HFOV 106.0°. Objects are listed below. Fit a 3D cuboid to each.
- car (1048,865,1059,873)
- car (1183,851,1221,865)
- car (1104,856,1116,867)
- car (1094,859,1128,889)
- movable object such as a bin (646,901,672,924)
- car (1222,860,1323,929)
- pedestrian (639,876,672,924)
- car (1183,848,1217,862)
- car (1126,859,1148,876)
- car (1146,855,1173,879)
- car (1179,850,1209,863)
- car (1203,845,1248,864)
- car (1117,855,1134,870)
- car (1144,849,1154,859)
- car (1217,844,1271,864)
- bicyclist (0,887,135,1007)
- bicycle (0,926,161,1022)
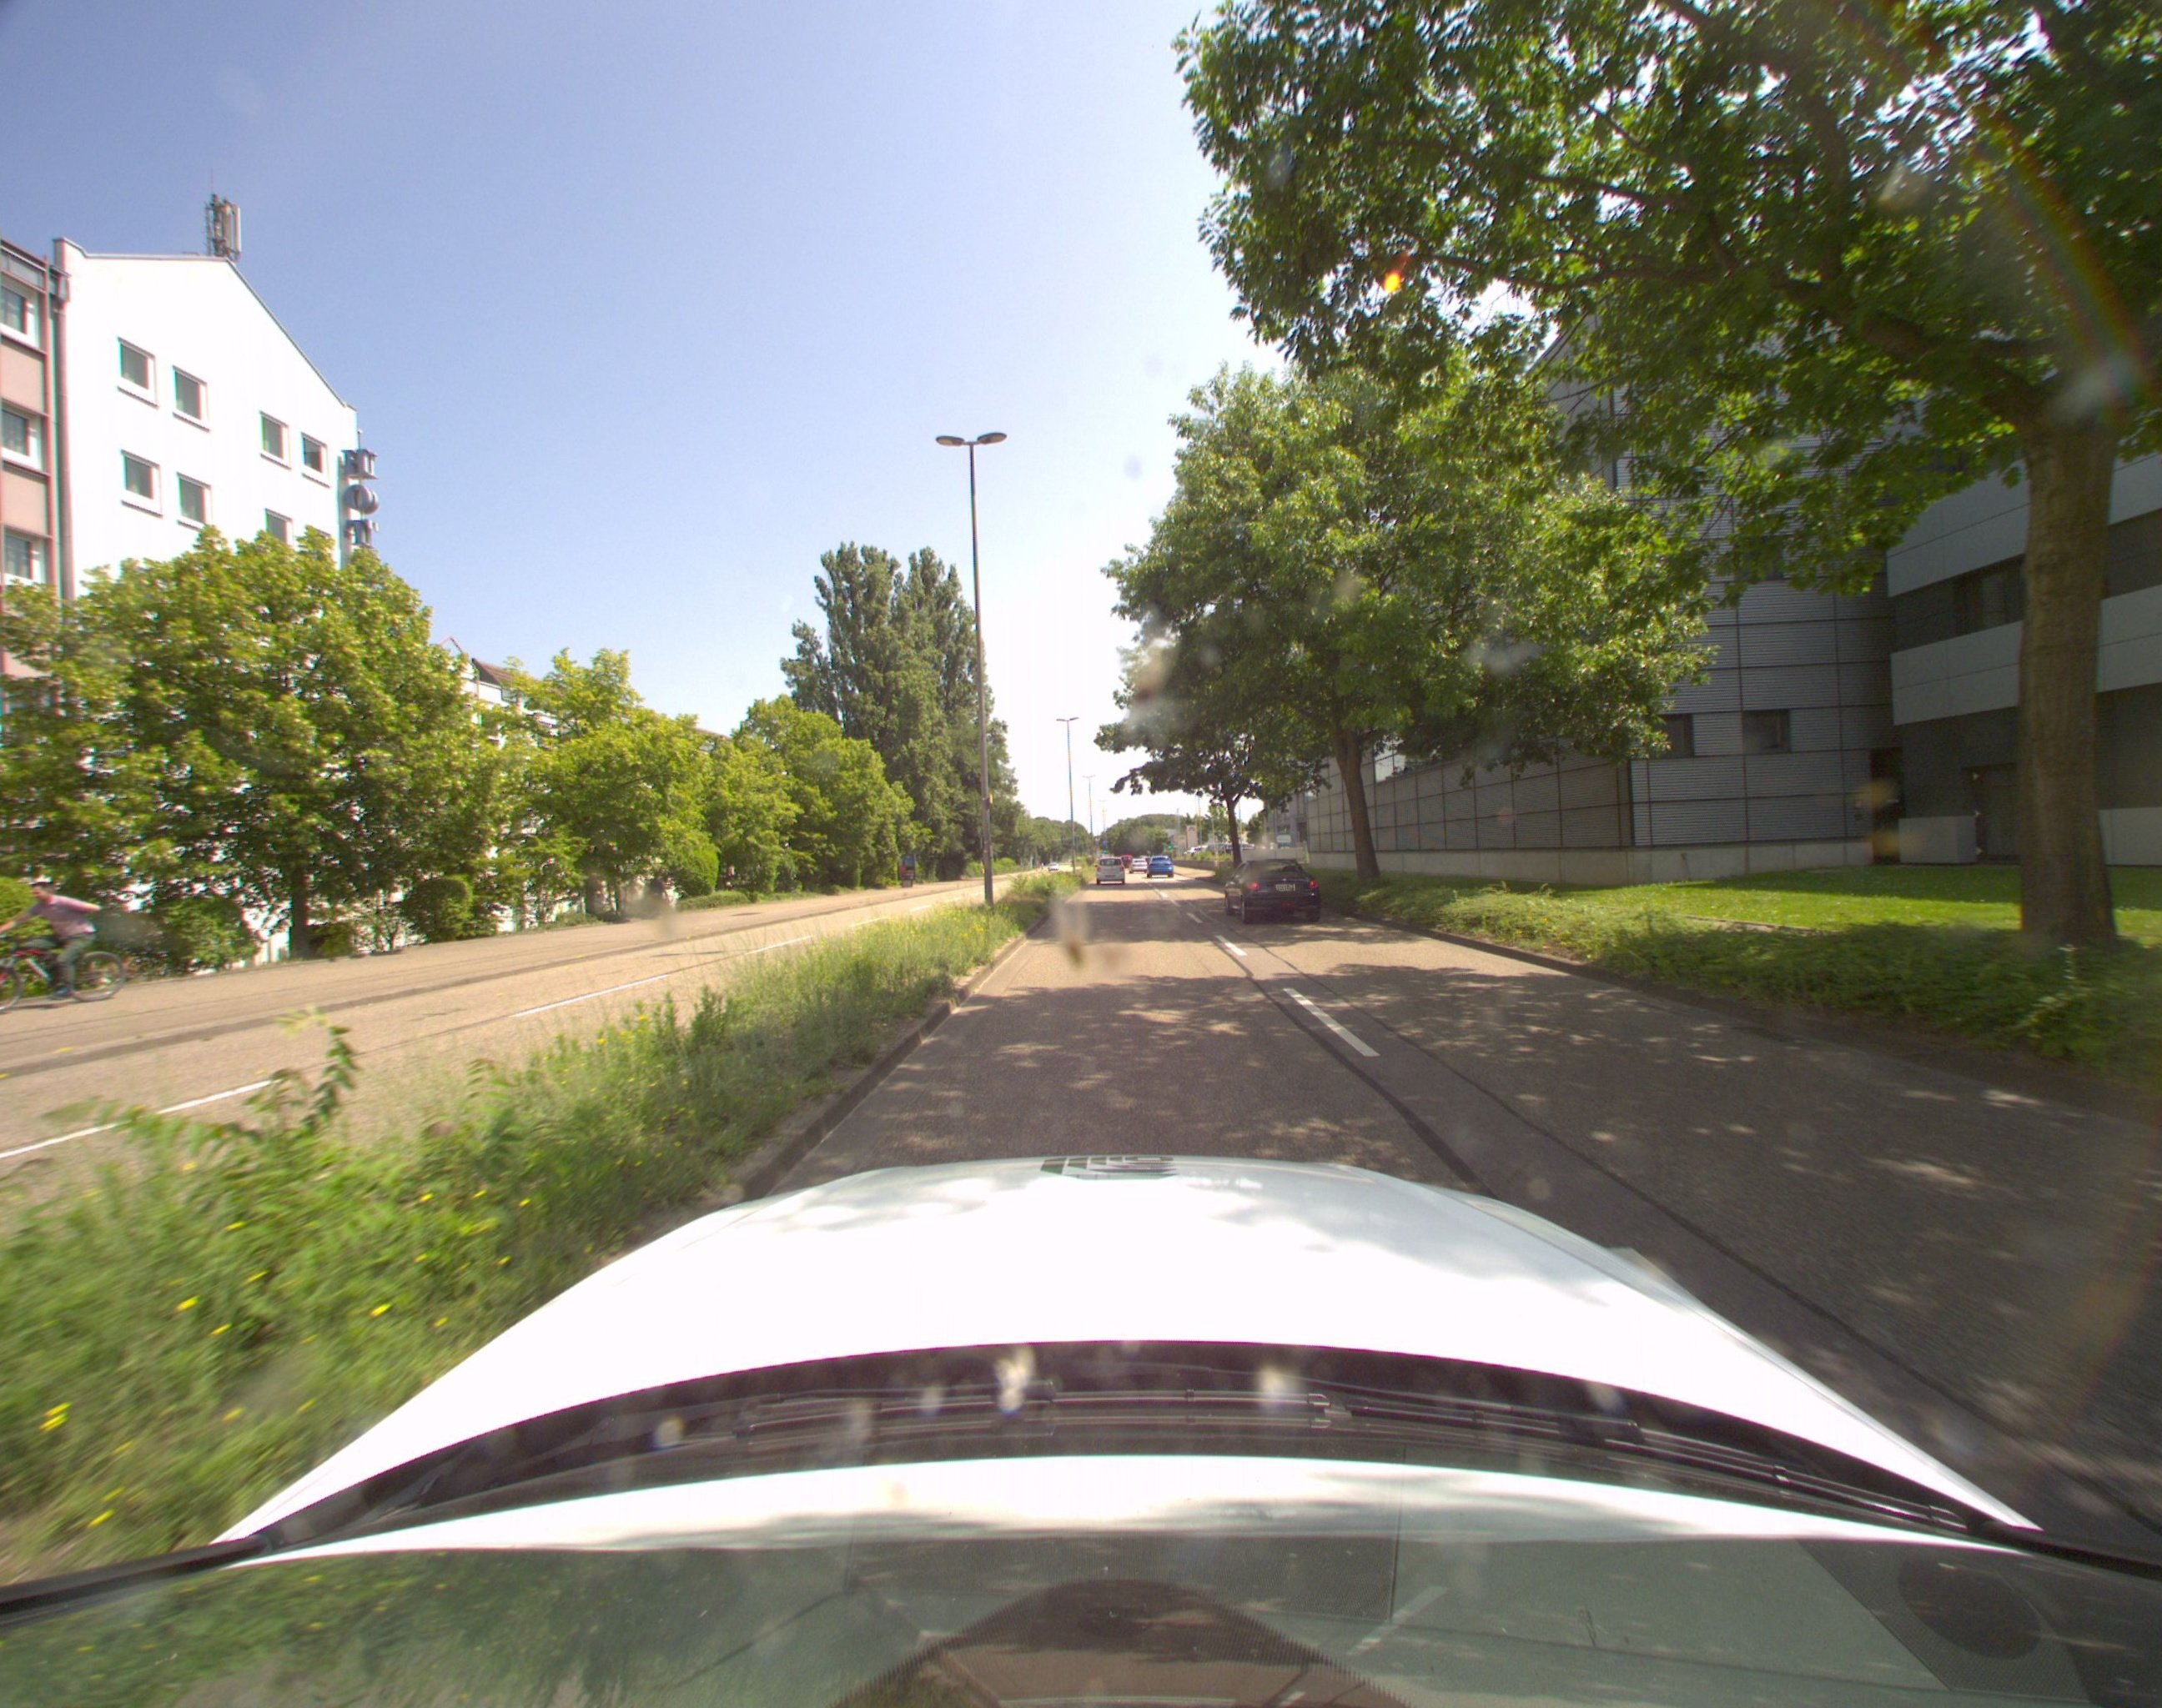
[{"bbox_3d":[-5.121,2.783,151.231,1.730,1.413,4.371,-3,-1,1],"label":"car"},{"bbox_3d":[15.557,0.513,104.647,4.518,1.544,2.001,-4,-1,1],"label":"car"},{"bbox_3d":[5.117,1.320,145.463,1.815,1.662,3.997,-3,0,-2],"label":"car"},{"bbox_3d":[1.719,1.117,46.055,1.741,1.520,3.749,-3,0,4],"label":"car"},{"bbox_3d":[-13.840,1.909,26.704,0.425,0.705,0.654,-3,-1,10],"label":"movable object such as a bin"},{"bbox_3d":[4.280,0.859,18.687,1.620,1.364,3.608,-1,0,3],"label":"car"},{"bbox_3d":[-14.223,1.515,27.255,0.630,1.545,0.727,-3,-1,2],"label":"pedestrian"},{"bbox_3d":[16.300,0.152,111.581,4.332,1.544,2.000,-4,-1,0],"label":"car"},{"bbox_3d":[5.425,1.311,79.614,1.986,1.442,4.001,-3,-1,2],"label":"car"},{"bbox_3d":[5.739,0.978,59.713,1.819,1.580,3.610,-3,-2,5],"label":"car"},{"bbox_3d":[16.015,0.392,115.551,3.974,1.544,2.000,-4,-1,0],"label":"car"},{"bbox_3d":[14.668,0.016,82.693,4.211,1.647,2.000,-4,-1,1],"label":"car"},{"bbox_3d":[5.550,1.107,102.427,1.771,1.740,3.998,-3,-1,-1],"label":"car"},{"bbox_3d":[15.277,-0.007,184.253,1.765,2.013,3.989,-3,0,-1],"label":"car"},{"bbox_3d":[14.753,0.014,73.946,4.483,1.583,2.000,-4,-1,1],"label":"car"},{"bbox_3d":[-13.989,1.241,11.192,0.715,1.516,1.026,-3,-1,-2],"label":"bicyclist"},{"bbox_3d":[-13.967,1.603,11.087,0.549,1.073,2.062,-2,-1,-1],"label":"bicycle"}]
